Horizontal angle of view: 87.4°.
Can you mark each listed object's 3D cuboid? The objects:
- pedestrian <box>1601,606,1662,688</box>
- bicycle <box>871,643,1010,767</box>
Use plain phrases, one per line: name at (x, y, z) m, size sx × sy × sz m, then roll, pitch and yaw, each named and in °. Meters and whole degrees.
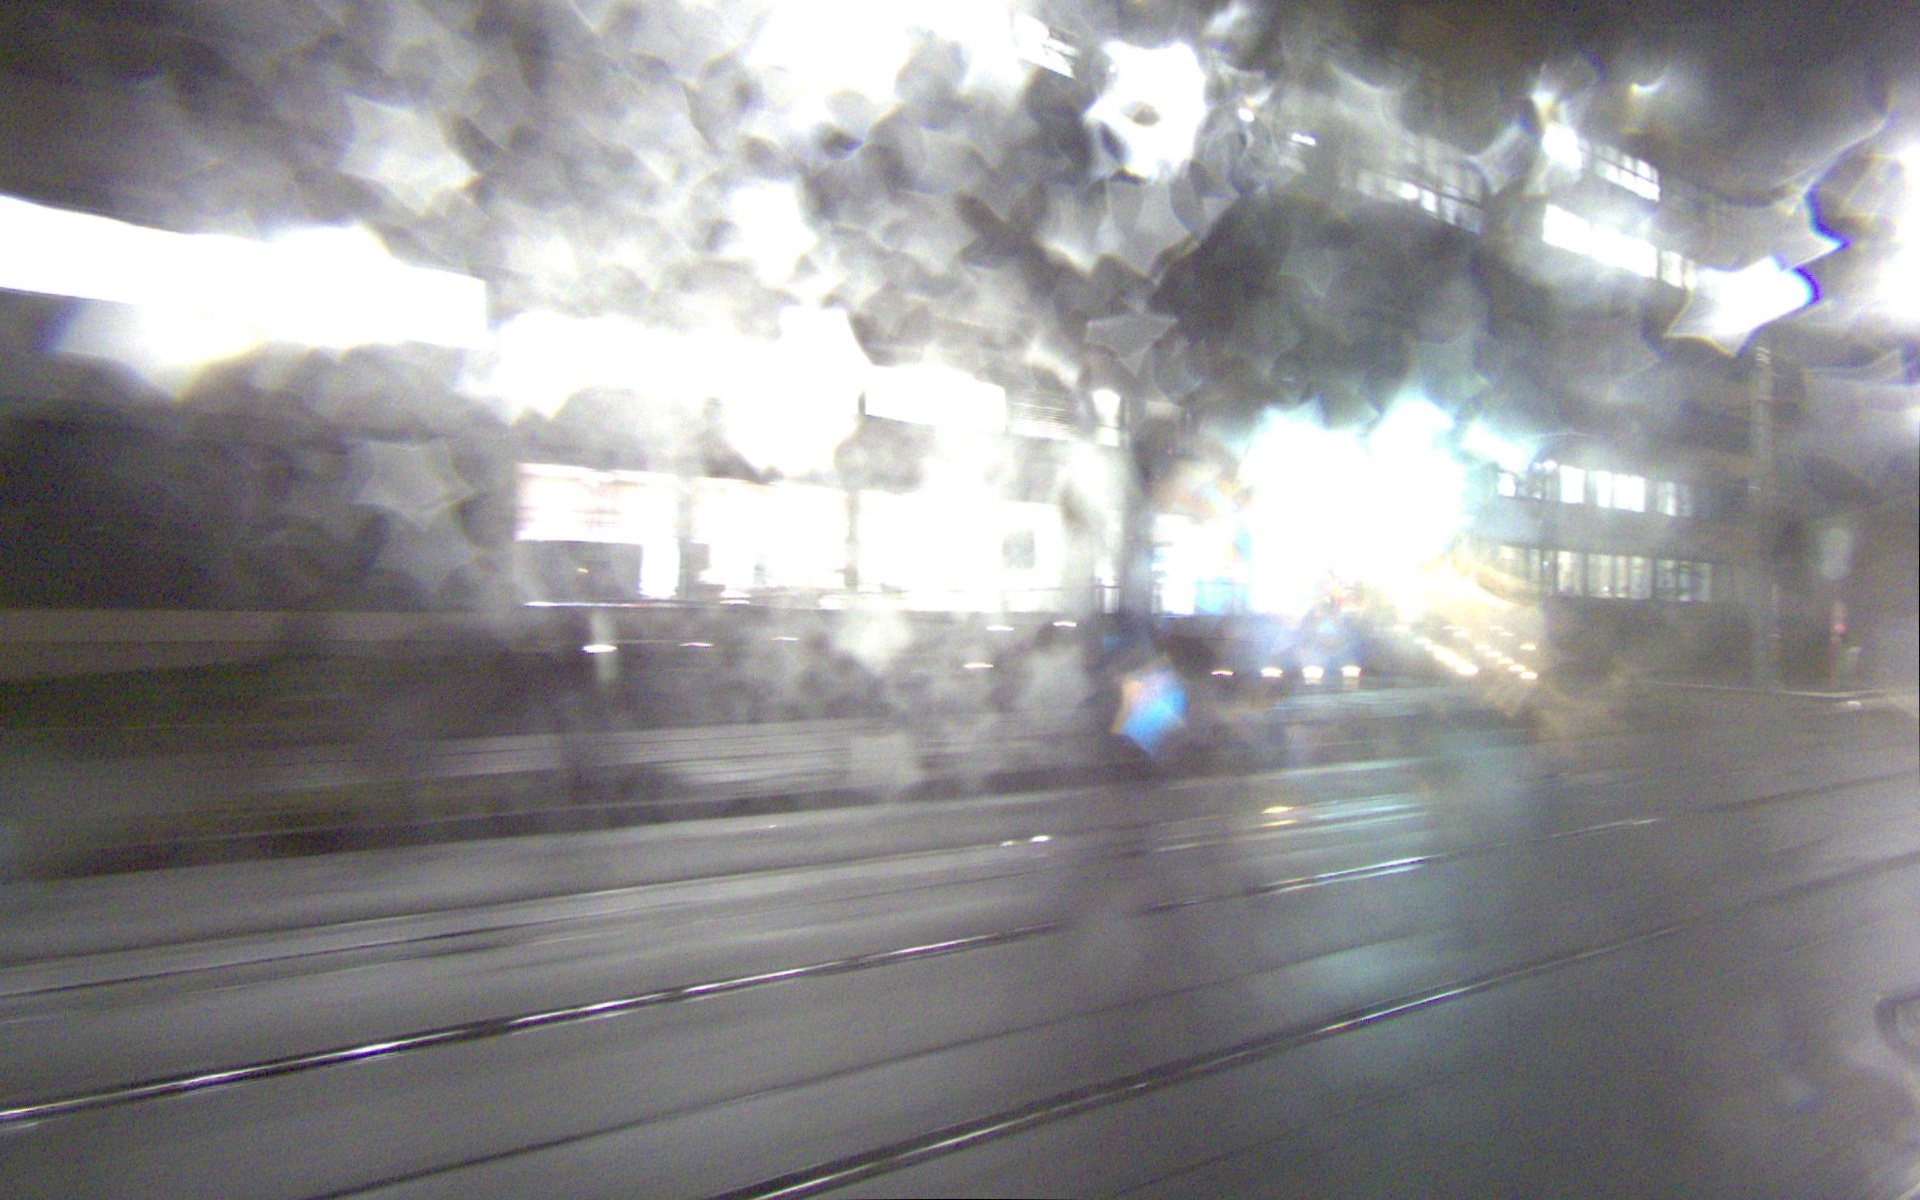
pedestrian at (14.451, 0.992, 21.624) m, size 0.872 × 1.709 × 0.782 m, roll 1°, pitch 0°, yaw -30°
bicycle at (-0.242, 1.024, 10.346) m, size 0.620 × 1.092 × 1.845 m, roll 1°, pitch -1°, yaw -29°
